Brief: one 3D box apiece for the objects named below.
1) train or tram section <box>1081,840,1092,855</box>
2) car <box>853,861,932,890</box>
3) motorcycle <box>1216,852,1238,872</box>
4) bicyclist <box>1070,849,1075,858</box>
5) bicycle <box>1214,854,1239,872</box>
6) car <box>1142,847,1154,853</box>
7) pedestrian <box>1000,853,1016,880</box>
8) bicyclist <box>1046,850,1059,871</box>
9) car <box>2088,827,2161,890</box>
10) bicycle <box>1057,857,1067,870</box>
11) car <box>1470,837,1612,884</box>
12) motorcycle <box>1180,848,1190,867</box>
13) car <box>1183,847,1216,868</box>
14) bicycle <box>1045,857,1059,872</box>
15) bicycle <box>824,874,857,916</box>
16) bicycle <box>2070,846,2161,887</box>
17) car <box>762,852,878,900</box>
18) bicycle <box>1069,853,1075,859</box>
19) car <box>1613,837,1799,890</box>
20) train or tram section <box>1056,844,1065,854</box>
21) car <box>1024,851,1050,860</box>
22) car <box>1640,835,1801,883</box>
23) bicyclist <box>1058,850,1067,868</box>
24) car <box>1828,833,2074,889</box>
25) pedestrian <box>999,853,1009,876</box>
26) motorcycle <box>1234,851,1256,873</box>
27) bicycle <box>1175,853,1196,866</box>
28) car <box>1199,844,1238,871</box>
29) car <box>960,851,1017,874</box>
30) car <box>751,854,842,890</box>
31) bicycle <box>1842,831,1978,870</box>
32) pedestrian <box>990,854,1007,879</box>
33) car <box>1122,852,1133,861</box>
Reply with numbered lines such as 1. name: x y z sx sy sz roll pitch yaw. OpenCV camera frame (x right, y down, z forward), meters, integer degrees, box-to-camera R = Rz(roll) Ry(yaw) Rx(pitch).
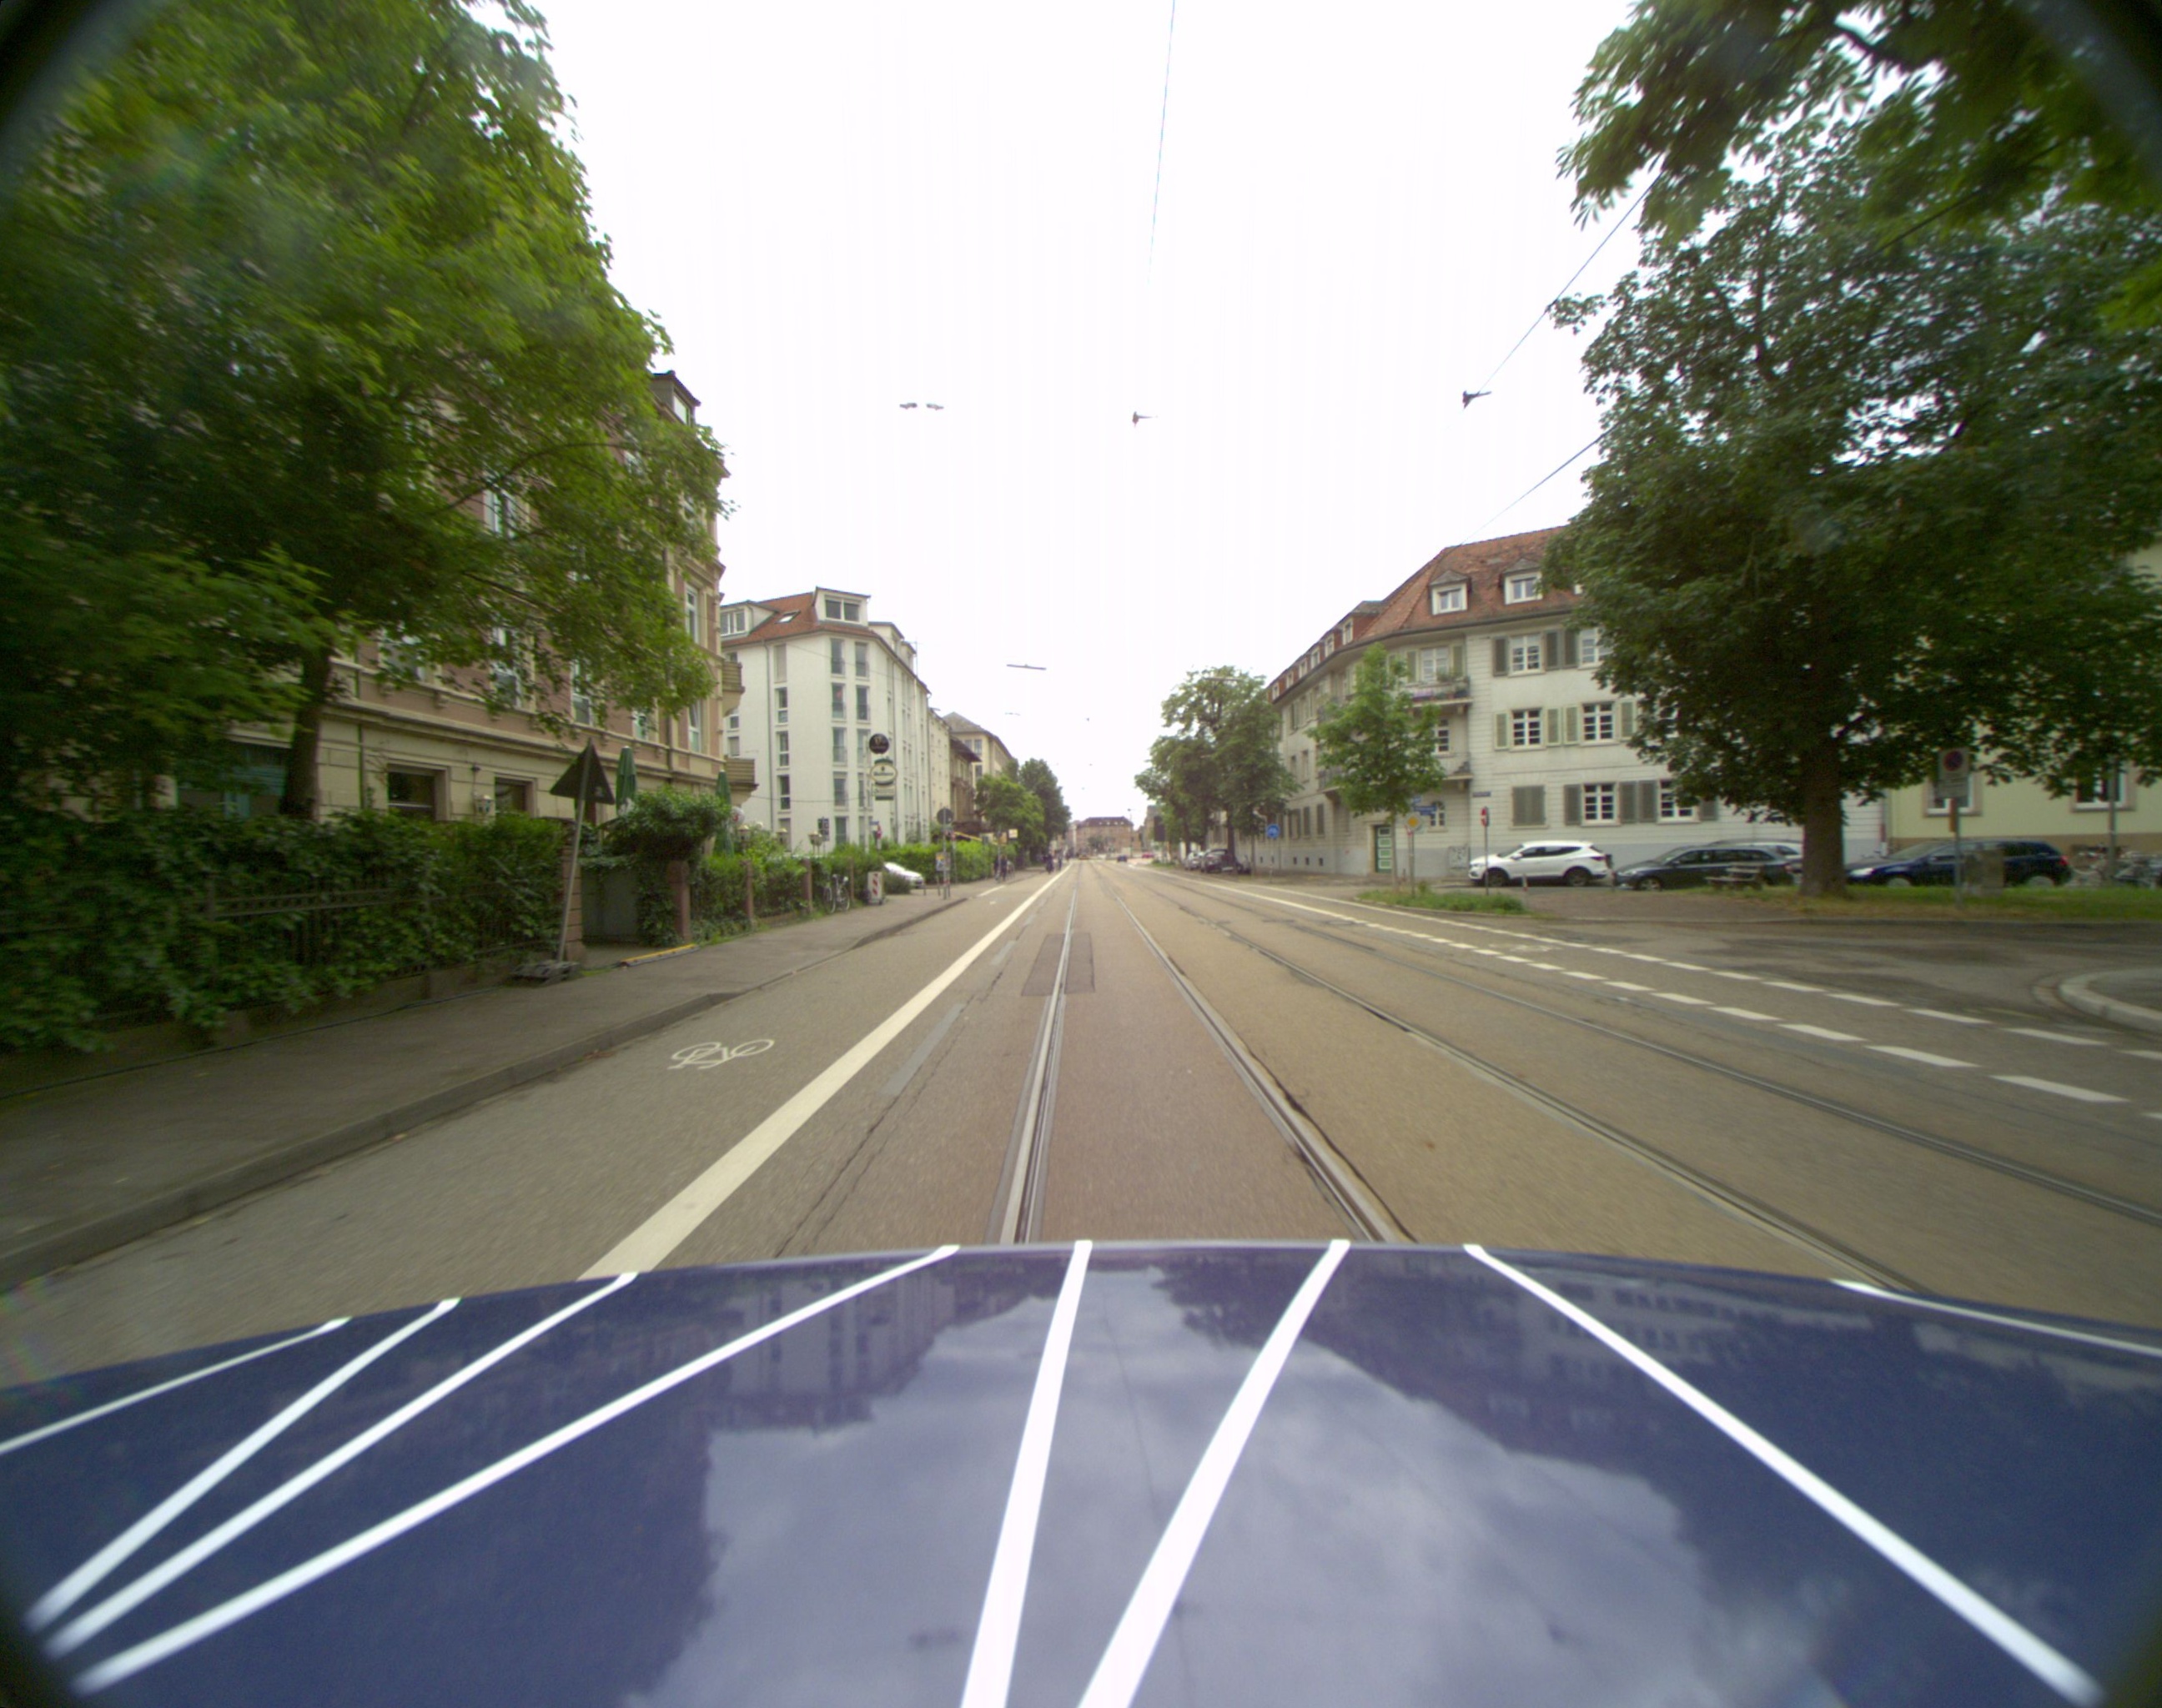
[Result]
1. train or tram section: 1.389 -1.633 199.250 2.631 3.659 5.984 -2 1 -2
2. car: -10.103 1.149 40.724 3.812 1.422 1.674 -2 0 23
3. motorcycle: 9.267 0.493 48.386 1.288 1.215 0.548 -3 1 7
4. bicyclist: -1.784 -0.084 154.580 0.793 1.773 1.148 1 1 8
5. bicycle: 9.056 0.576 47.443 1.379 0.999 0.930 -5 0 4
6. car: 16.498 -0.967 185.866 1.757 1.490 4.006 0 1 22
7. pedestrian: -4.450 0.750 46.118 0.875 1.646 0.908 -2 1 -8
8. bicyclist: -2.502 0.615 66.710 0.881 1.811 1.479 -2 -1 5
9. car: 27.893 0.046 18.217 4.179 1.471 1.705 -2 1 26
10. bicycle: -1.797 0.879 72.324 0.776 1.205 1.869 -2 0 1
11. car: 17.602 0.246 29.377 4.505 1.653 1.942 -2 0 25
12. motorcycle: 9.209 0.256 67.428 0.834 1.633 2.481 -2 0 8
13. car: 9.319 0.266 60.003 1.816 1.457 4.613 -3 0 0
14. bicycle: -2.514 0.918 66.577 0.853 1.234 2.310 -2 0 5
15. bicycle: -6.619 1.105 20.984 0.302 1.035 1.848 -2 0 0
16. bicycle: 24.158 0.293 17.608 1.392 0.891 0.582 -1 1 28
17. car: -11.174 0.883 33.010 2.054 1.867 5.035 -1 0 19
18. bicycle: -1.797 0.474 154.544 0.793 1.179 2.012 1 0 8
19. car: 18.574 0.288 22.830 4.060 1.402 1.665 -2 1 29
20. train or tram section: -6.238 -1.591 231.193 2.610 2.936 4.965 -2 1 -2
21. car: -7.954 0.246 137.216 4.330 1.542 1.747 -2 0 -22
22. car: 22.411 0.183 26.840 4.038 1.504 1.741 -2 1 27
23. bicyclist: -1.796 0.455 72.726 0.776 1.681 0.869 -2 1 1
24. car: 23.141 0.196 20.433 4.000 1.338 1.668 -2 1 26
25. pedestrian: -5.610 0.732 55.353 0.625 1.661 0.959 1 1 0
26. motorcycle: 9.577 0.454 44.407 0.541 1.250 2.141 -2 1 -6
27. bicycle: 9.623 0.524 69.811 1.744 1.122 0.518 -4 0 18
28. car: 9.300 0.212 51.717 1.842 1.651 4.293 -4 0 1
29. car: -7.362 0.702 61.017 4.290 1.798 1.824 0 0 2
30. car: -16.207 1.005 43.266 4.734 1.927 1.980 -2 -1 22
31. bicycle: 29.024 -0.101 26.701 3.119 1.223 0.884 -2 3 27
32. pedestrian: -5.290 0.804 48.932 0.794 1.627 0.837 0 2 16
33. car: 8.114 0.444 132.271 1.733 1.400 3.655 -2 0 0
